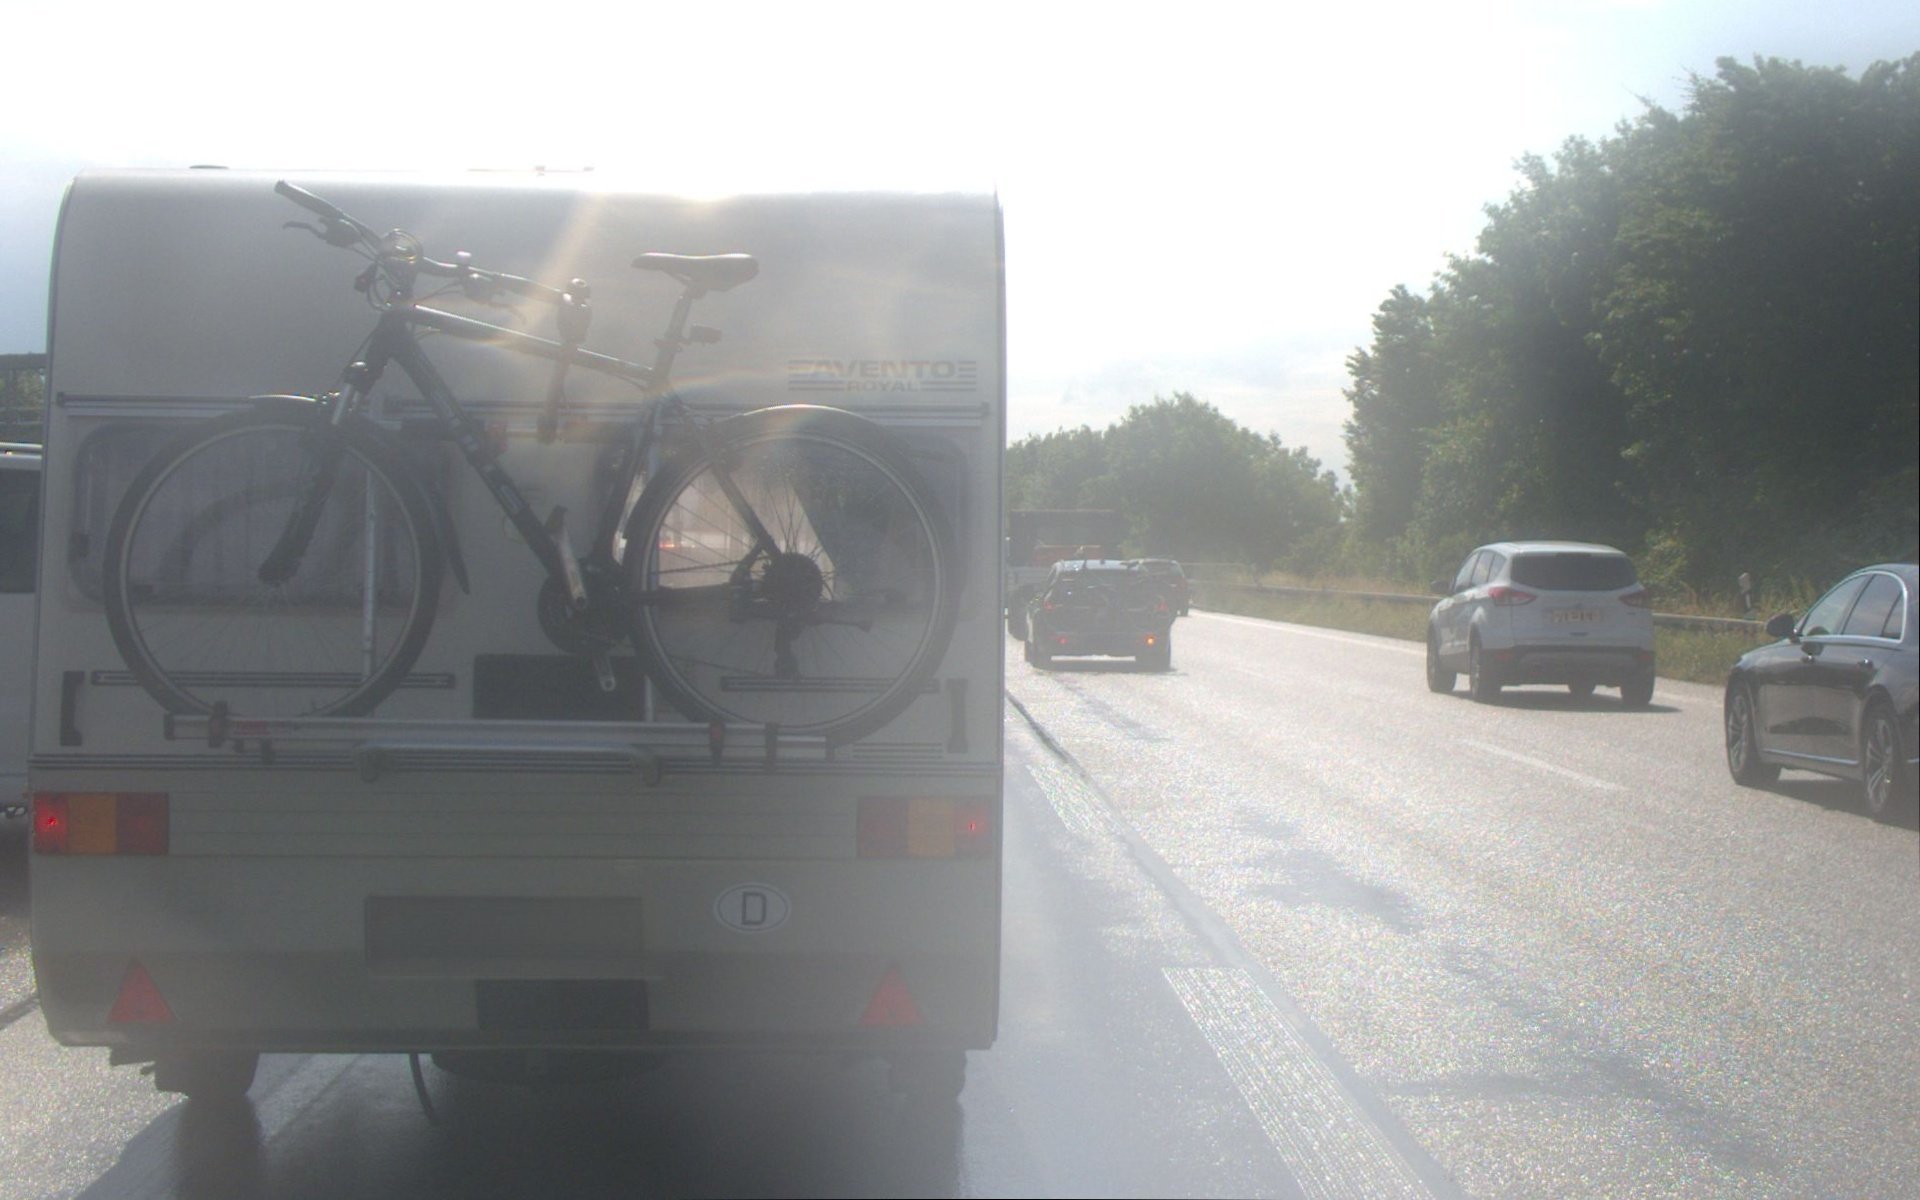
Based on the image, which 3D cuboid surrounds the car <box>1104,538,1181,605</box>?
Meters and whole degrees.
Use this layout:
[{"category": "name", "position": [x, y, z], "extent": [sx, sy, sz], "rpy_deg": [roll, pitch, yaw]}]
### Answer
[{"category": "car", "position": [4.681, -0.744, 88.723], "extent": [1.719, 1.678, 4.000], "rpy_deg": [0, 1, -1]}]

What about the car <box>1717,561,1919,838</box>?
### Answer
[{"category": "car", "position": [5.978, 0.531, 20.109], "extent": [1.876, 1.489, 4.001], "rpy_deg": [1, 1, -5]}]

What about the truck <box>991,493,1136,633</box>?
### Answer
[{"category": "truck", "position": [1.850, -0.702, 63.653], "extent": [2.415, 2.435, 6.053], "rpy_deg": [0, 1, -1]}]

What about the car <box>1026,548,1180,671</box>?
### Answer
[{"category": "car", "position": [1.870, 0.102, 46.034], "extent": [1.835, 1.552, 4.000], "rpy_deg": [1, 1, -1]}]

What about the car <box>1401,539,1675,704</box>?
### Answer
[{"category": "car", "position": [6.039, 0.196, 36.377], "extent": [1.876, 1.623, 4.001], "rpy_deg": [1, 1, -5]}]

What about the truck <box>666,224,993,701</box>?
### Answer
[{"category": "truck", "position": [-1.486, -1.403, 38.781], "extent": [3.146, 4.610, 10.737], "rpy_deg": [0, 1, -2]}]

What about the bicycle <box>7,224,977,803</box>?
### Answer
[{"category": "bicycle", "position": [-0.943, -0.174, 7.103], "extent": [1.933, 1.137, 0.384], "rpy_deg": [1, 0, -1]}]

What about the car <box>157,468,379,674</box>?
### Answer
[{"category": "car", "position": [-7.075, -0.311, 35.439], "extent": [1.580, 2.007, 3.615], "rpy_deg": [0, 1, -1]}]

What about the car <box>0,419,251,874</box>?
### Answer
[{"category": "car", "position": [-4.777, 0.177, 17.151], "extent": [1.876, 2.007, 4.001], "rpy_deg": [1, 1, -4]}]

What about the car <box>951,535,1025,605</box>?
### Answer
[{"category": "car", "position": [0.668, -0.758, 84.617], "extent": [1.719, 1.678, 4.000], "rpy_deg": [0, 1, -1]}]

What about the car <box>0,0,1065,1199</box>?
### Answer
[{"category": "car", "position": [-1.022, -0.010, 9.303], "extent": [2.410, 2.665, 4.000], "rpy_deg": [1, 1, -1]}]
